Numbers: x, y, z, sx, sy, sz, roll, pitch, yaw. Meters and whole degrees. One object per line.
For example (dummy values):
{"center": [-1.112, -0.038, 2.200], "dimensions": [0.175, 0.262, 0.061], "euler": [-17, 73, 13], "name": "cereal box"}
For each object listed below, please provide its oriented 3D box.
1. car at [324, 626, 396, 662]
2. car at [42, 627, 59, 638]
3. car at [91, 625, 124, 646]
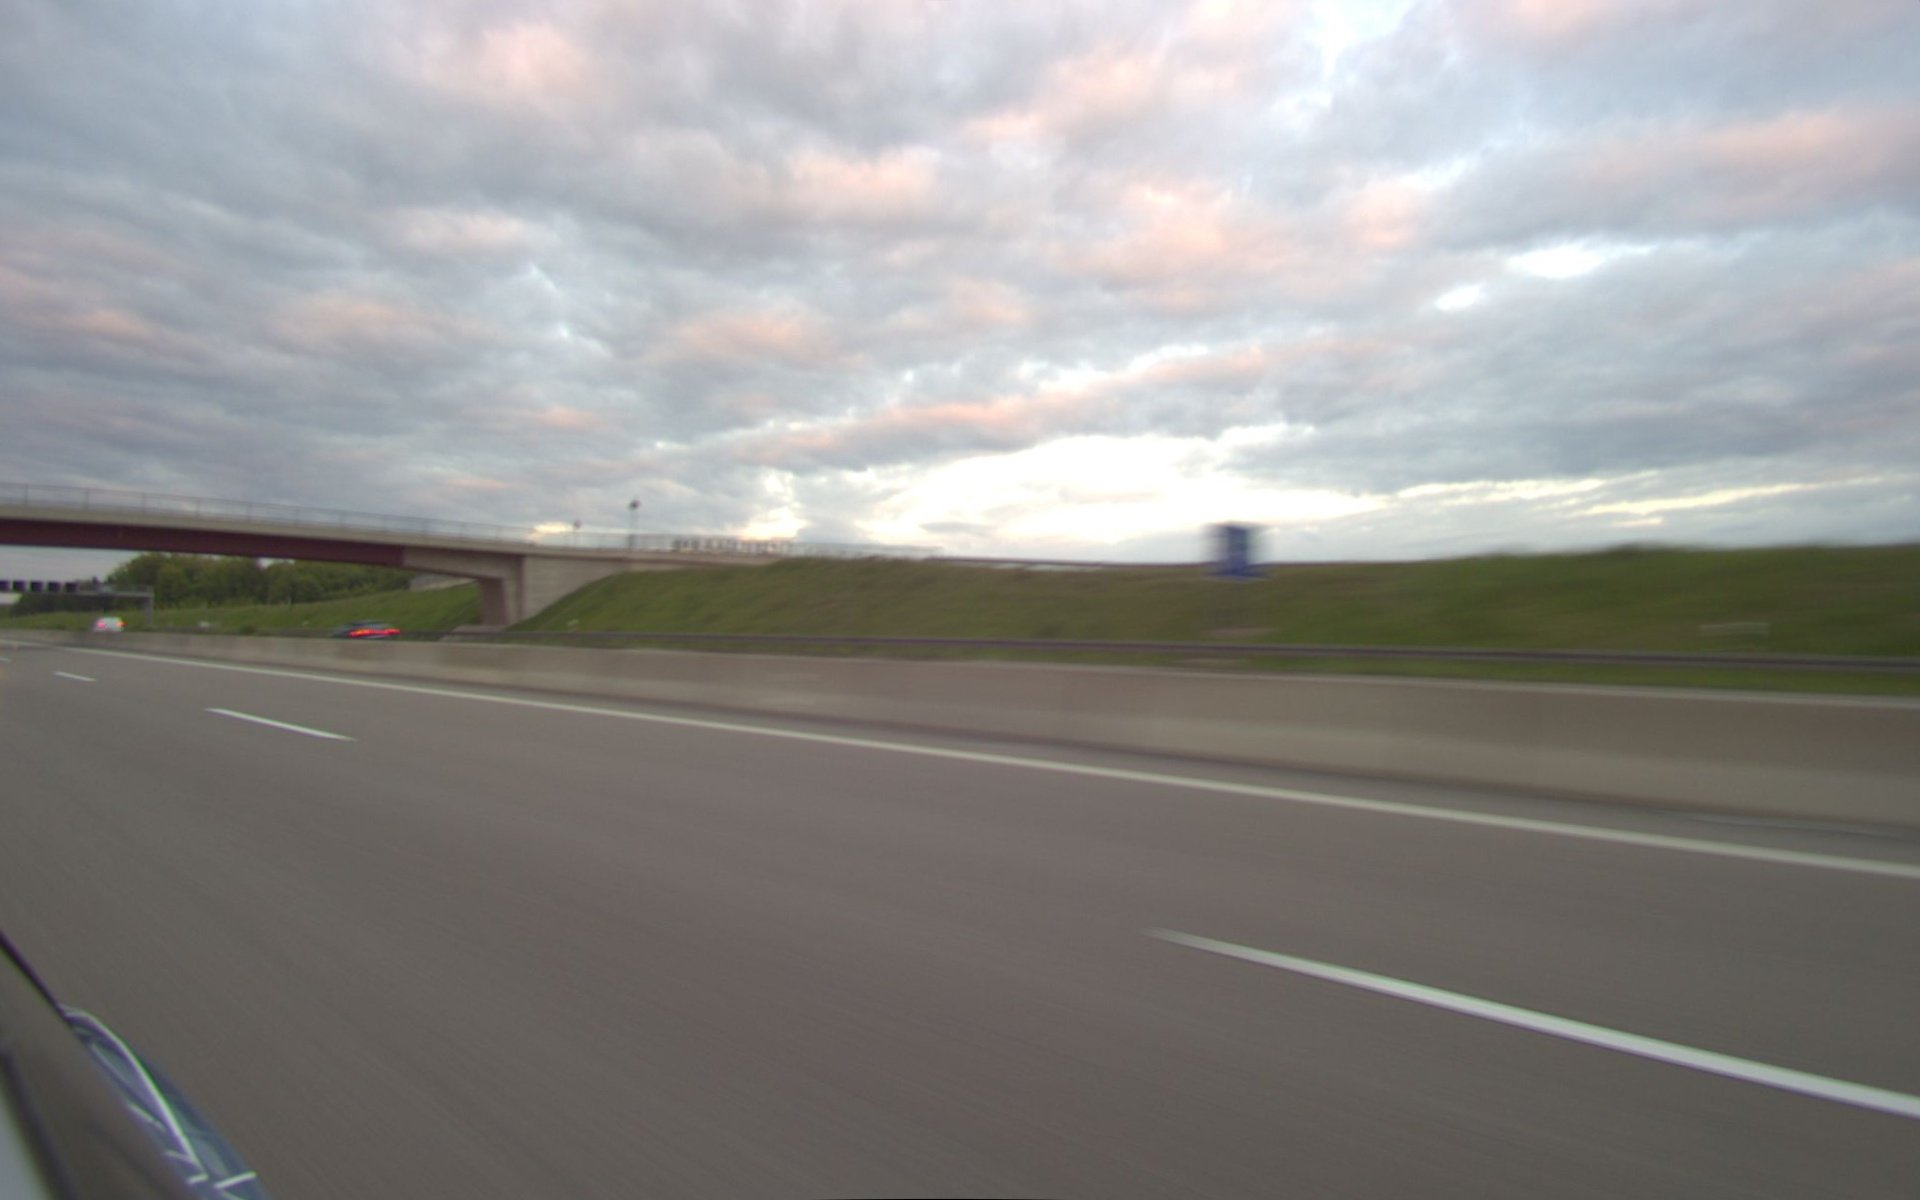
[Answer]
{"center": [-30.498, 2.187, 51.369], "dimensions": [4.649, 1.675, 1.805], "euler": [-1, -1, 41], "name": "car"}
{"center": [-139.964, 5.035, 155.756], "dimensions": [3.998, 1.569, 1.585], "euler": [-1, -1, 42], "name": "car"}
{"center": [-84.564, 3.503, 100.341], "dimensions": [4.892, 1.950, 1.804], "euler": [-1, -1, 42], "name": "car"}
